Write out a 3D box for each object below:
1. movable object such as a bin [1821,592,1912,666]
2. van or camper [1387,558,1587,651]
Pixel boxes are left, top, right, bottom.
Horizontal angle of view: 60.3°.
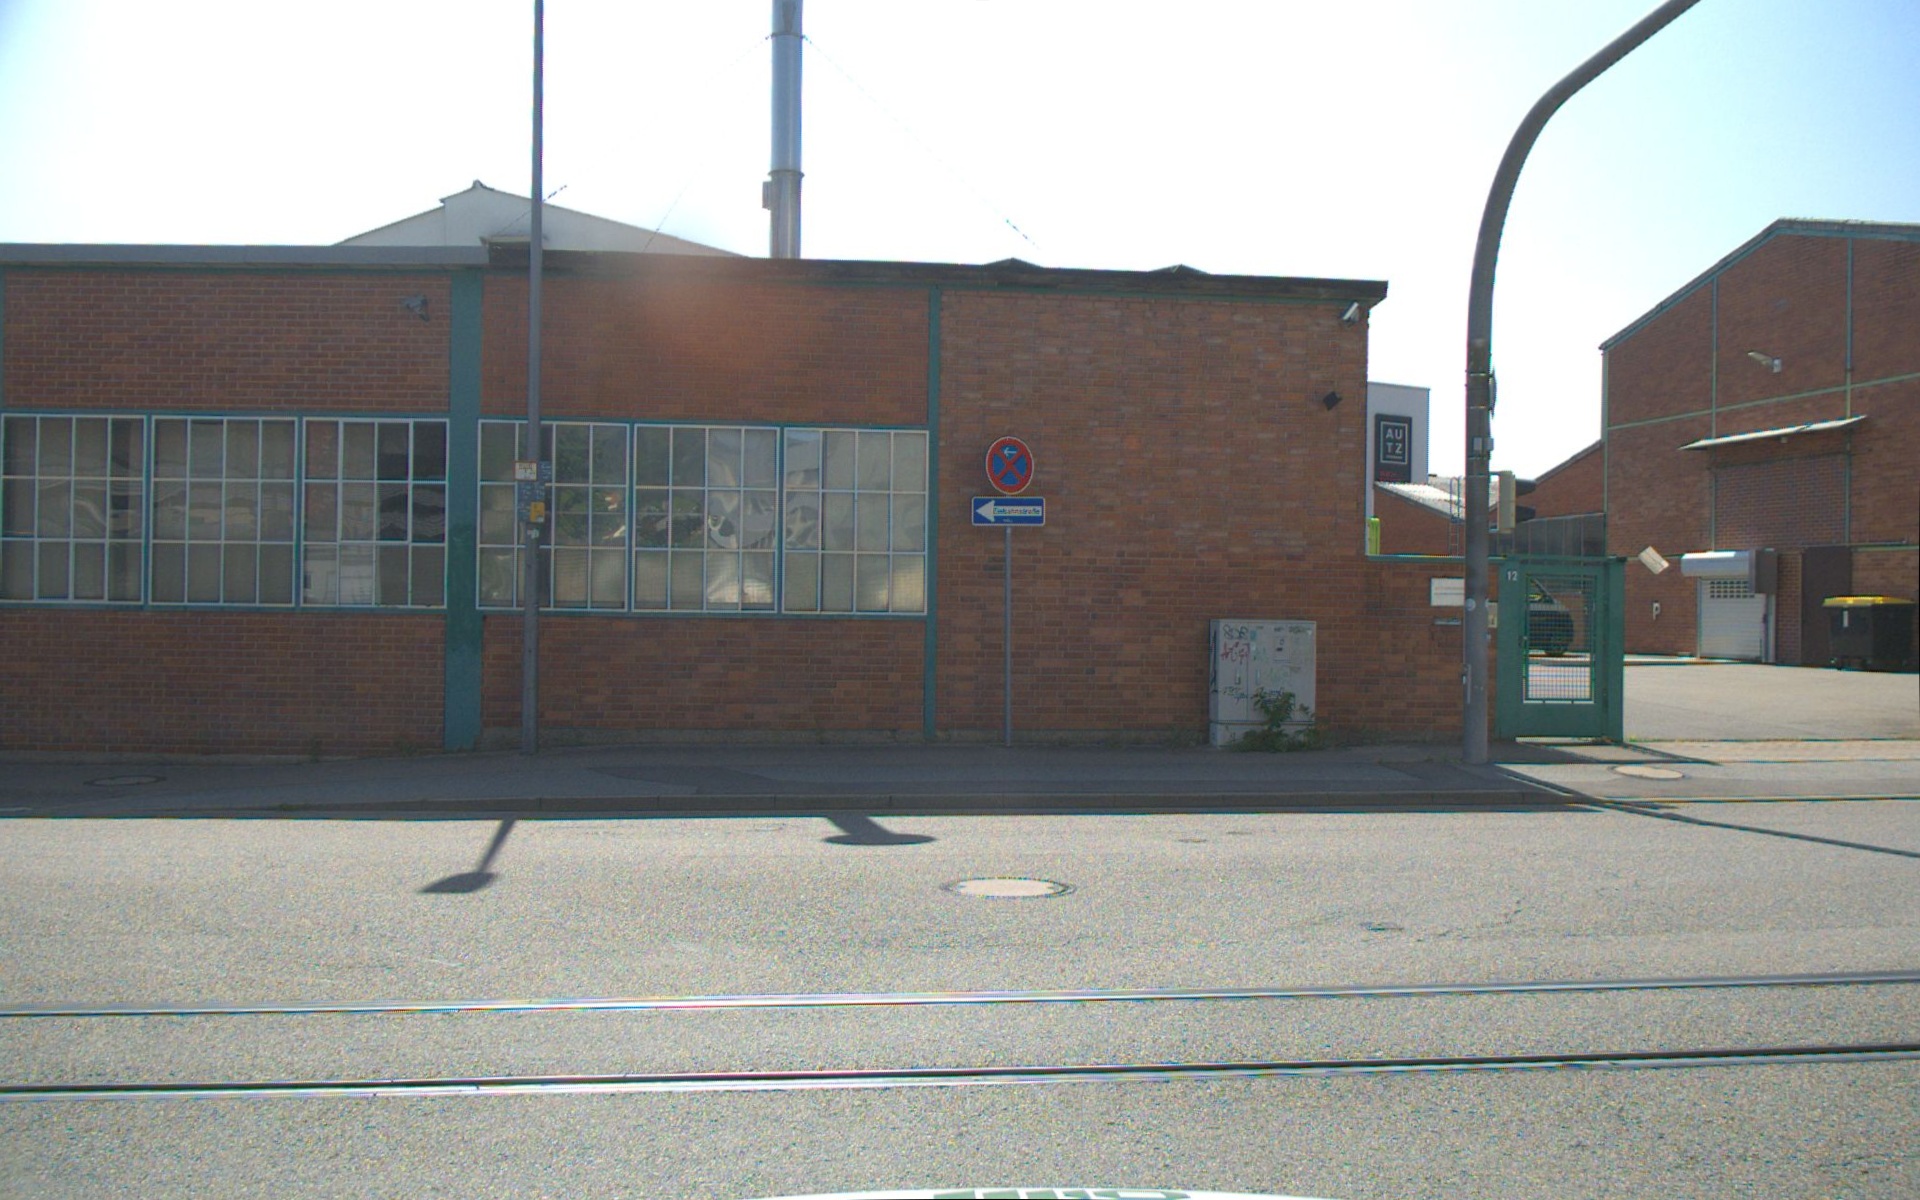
[{"bbox_3d":[16.709,0.526,30.504,0.957,1.337,1.149,0,0,-11],"label":"movable object such as a bin"},{"bbox_3d":[12.239,0.116,38.358,4.361,1.933,1.980,3,-1,-31],"label":"van or camper"}]
